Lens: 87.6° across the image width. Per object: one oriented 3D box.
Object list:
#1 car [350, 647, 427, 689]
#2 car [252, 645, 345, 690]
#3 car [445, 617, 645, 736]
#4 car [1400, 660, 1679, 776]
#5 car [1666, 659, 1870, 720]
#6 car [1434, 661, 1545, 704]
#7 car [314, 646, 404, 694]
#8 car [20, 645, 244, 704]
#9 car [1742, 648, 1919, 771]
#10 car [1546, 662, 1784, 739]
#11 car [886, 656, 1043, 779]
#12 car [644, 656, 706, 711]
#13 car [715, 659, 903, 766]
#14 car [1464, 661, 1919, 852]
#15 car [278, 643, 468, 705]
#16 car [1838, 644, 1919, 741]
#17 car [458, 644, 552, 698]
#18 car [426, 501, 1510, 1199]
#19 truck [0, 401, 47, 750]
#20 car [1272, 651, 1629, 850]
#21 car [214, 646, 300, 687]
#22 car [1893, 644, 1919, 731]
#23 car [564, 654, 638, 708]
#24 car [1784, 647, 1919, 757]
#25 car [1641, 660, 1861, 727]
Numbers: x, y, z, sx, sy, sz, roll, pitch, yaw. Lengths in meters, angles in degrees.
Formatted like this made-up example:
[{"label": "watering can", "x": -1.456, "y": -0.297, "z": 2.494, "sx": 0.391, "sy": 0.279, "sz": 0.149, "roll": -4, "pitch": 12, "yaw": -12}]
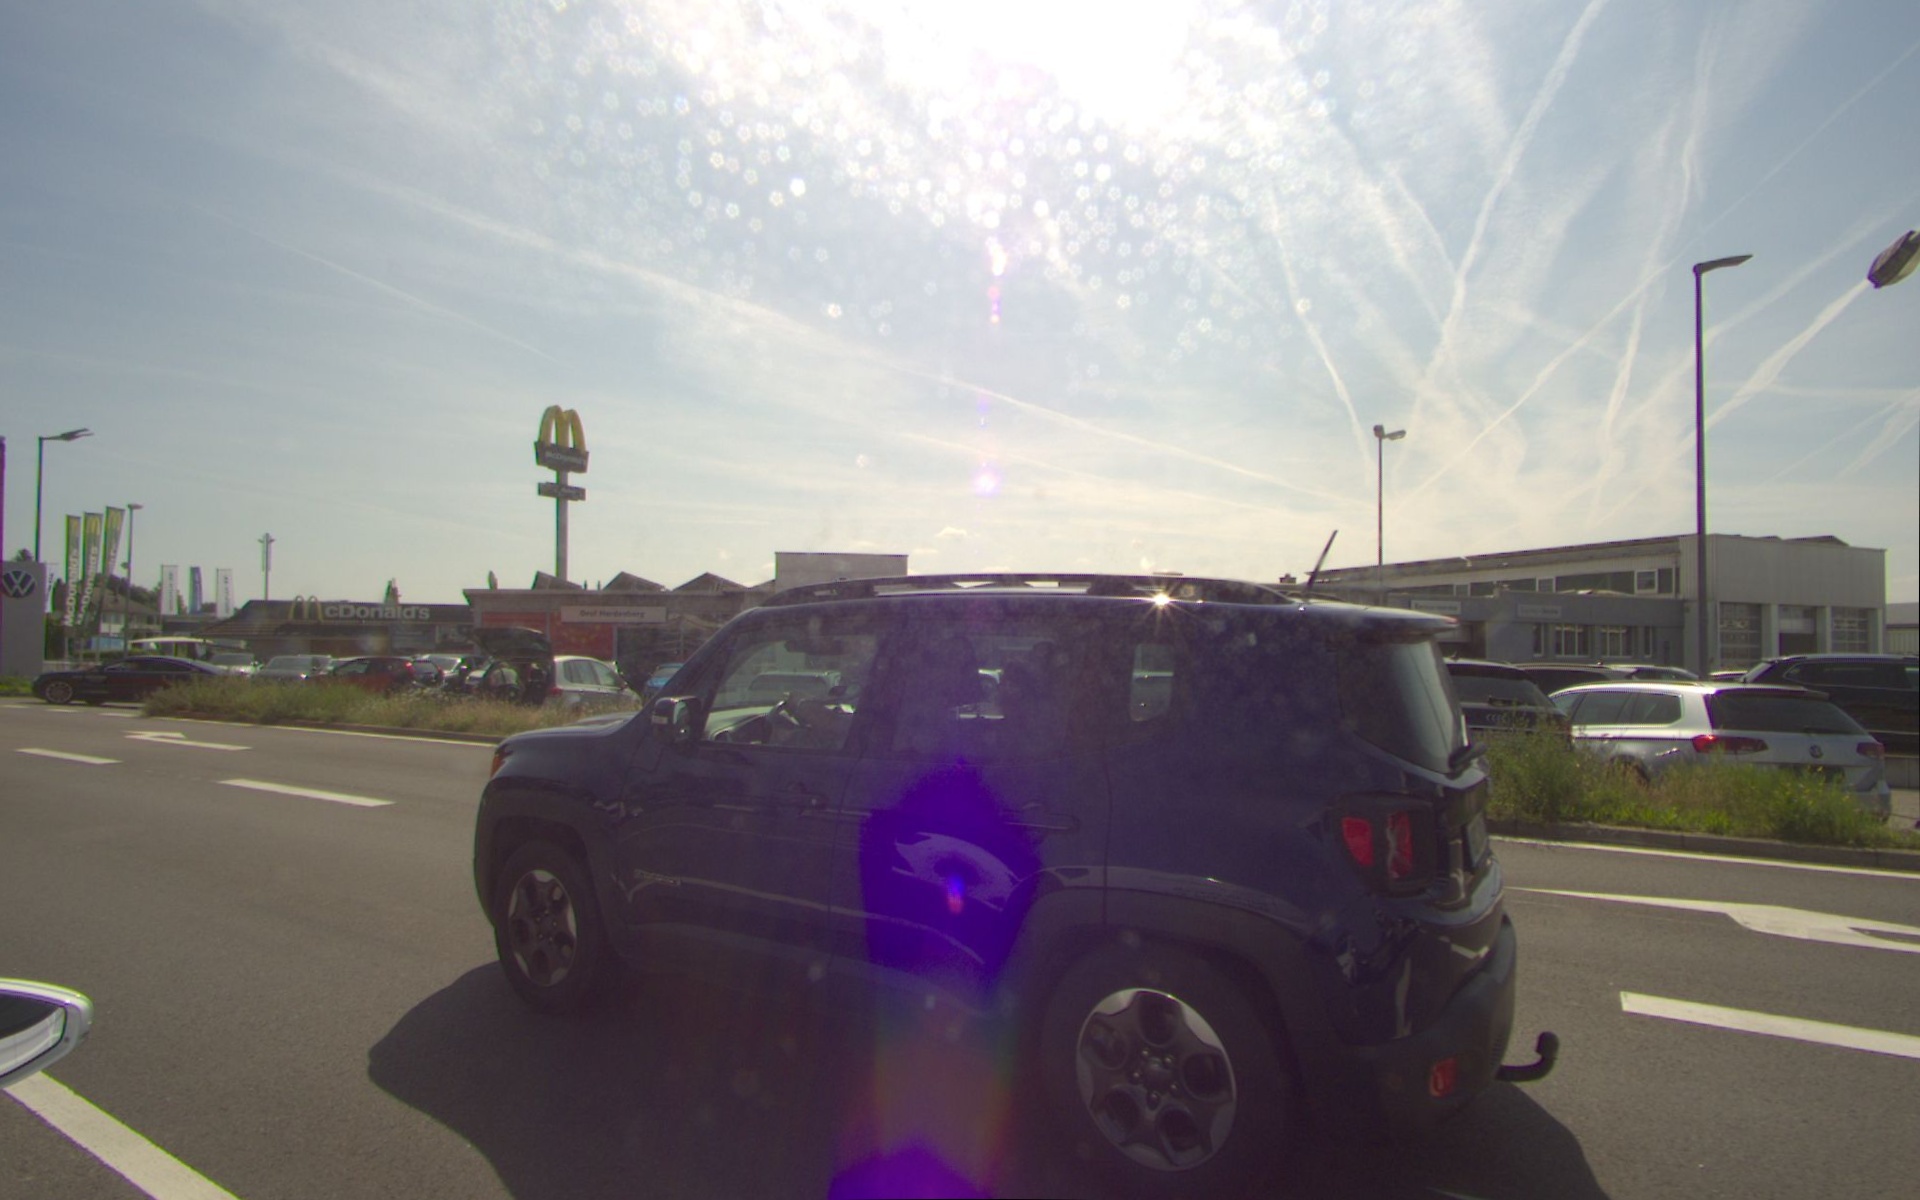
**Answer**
[{"label": "car", "x": -22.224, "y": 2.614, "z": 39.073, "sx": 1.656, "sy": 1.550, "sz": 3.594, "roll": 1, "pitch": -2, "yaw": -14}, {"label": "car", "x": -24.474, "y": 2.474, "z": 37.186, "sx": 1.737, "sy": 1.550, "sz": 3.627, "roll": 1, "pitch": -2, "yaw": -14}, {"label": "car", "x": -7.435, "y": 1.327, "z": 18.363, "sx": 1.670, "sy": 1.945, "sz": 3.847, "roll": 0, "pitch": -2, "yaw": 7}, {"label": "car", "x": 10.358, "y": 2.016, "z": 18.091, "sx": 4.174, "sy": 1.777, "sz": 1.898, "roll": -1, "pitch": -2, "yaw": 34}, {"label": "car", "x": 22.999, "y": 2.497, "z": 28.634, "sx": 1.960, "sy": 1.526, "sz": 4.203, "roll": 2, "pitch": -3, "yaw": -36}, {"label": "car", "x": 17.828, "y": 2.757, "z": 33.909, "sx": 1.575, "sy": 1.270, "sz": 3.722, "roll": 1, "pitch": -2, "yaw": -5}, {"label": "car", "x": -20.799, "y": 2.406, "z": 34.787, "sx": 1.656, "sy": 1.550, "sz": 3.594, "roll": 1, "pitch": -2, "yaw": -14}, {"label": "car", "x": -21.799, "y": 1.950, "z": 26.556, "sx": 4.126, "sy": 1.473, "sz": 1.845, "roll": 1, "pitch": -2, "yaw": -16}, {"label": "car", "x": 15.036, "y": 1.690, "z": 15.767, "sx": 4.177, "sy": 1.812, "sz": 1.972, "roll": -1, "pitch": -3, "yaw": 36}, {"label": "car", "x": 16.498, "y": 2.280, "z": 23.625, "sx": 1.960, "sy": 1.526, "sz": 4.203, "roll": 2, "pitch": -3, "yaw": -36}, {"label": "car", "x": 0.203, "y": 1.552, "z": 14.280, "sx": 1.670, "sy": 1.417, "sz": 3.847, "roll": 0, "pitch": -2, "yaw": 9}, {"label": "car", "x": -9.025, "y": 2.609, "z": 31.922, "sx": 1.671, "sy": 1.577, "sz": 3.784, "roll": 1, "pitch": -2, "yaw": -13}, {"label": "car", "x": -2.264, "y": 1.694, "z": 16.100, "sx": 1.671, "sy": 1.417, "sz": 3.845, "roll": 0, "pitch": -2, "yaw": 13}, {"label": "car", "x": 6.902, "y": 1.369, "z": 10.026, "sx": 1.705, "sy": 1.420, "sz": 4.040, "roll": 0, "pitch": -2, "yaw": 1}, {"label": "car", "x": -15.678, "y": 1.964, "z": 26.905, "sx": 3.922, "sy": 1.550, "sz": 2.001, "roll": 0, "pitch": -2, "yaw": 3}, {"label": "car", "x": 19.417, "y": 1.753, "z": 18.712, "sx": 1.960, "sy": 1.812, "sz": 4.203, "roll": 2, "pitch": -3, "yaw": -36}, {"label": "car", "x": -14.114, "y": 2.160, "z": 31.285, "sx": 1.964, "sy": 1.550, "sz": 3.997, "roll": 1, "pitch": -2, "yaw": -14}, {"label": "car", "x": -0.131, "y": 0.688, "z": 3.957, "sx": 3.943, "sy": 1.707, "sz": 1.815, "roll": -1, "pitch": -1, "yaw": 33}, {"label": "truck", "x": -19.363, "y": -0.222, "z": 15.878, "sx": 16.346, "sy": 4.324, "sz": 2.952, "roll": -1, "pitch": -2, "yaw": 32}, {"label": "car", "x": 4.644, "y": 1.334, "z": 10.219, "sx": 1.705, "sy": 1.555, "sz": 4.040, "roll": 0, "pitch": -2, "yaw": 1}, {"label": "car", "x": -28.163, "y": 2.626, "z": 40.204, "sx": 1.733, "sy": 1.550, "sz": 3.263, "roll": 1, "pitch": -2, "yaw": -14}, {"label": "car", "x": 21.701, "y": 1.802, "z": 20.012, "sx": 1.960, "sy": 1.812, "sz": 4.203, "roll": 2, "pitch": -3, "yaw": -36}, {"label": "car", "x": -11.265, "y": 2.509, "z": 31.682, "sx": 1.771, "sy": 1.550, "sz": 4.223, "roll": 1, "pitch": -2, "yaw": -14}, {"label": "car", "x": 16.898, "y": 1.737, "z": 17.121, "sx": 4.177, "sy": 1.812, "sz": 1.972, "roll": -1, "pitch": -3, "yaw": 36}, {"label": "car", "x": 20.699, "y": 2.391, "z": 26.359, "sx": 1.960, "sy": 1.526, "sz": 4.203, "roll": 2, "pitch": -3, "yaw": -36}]
